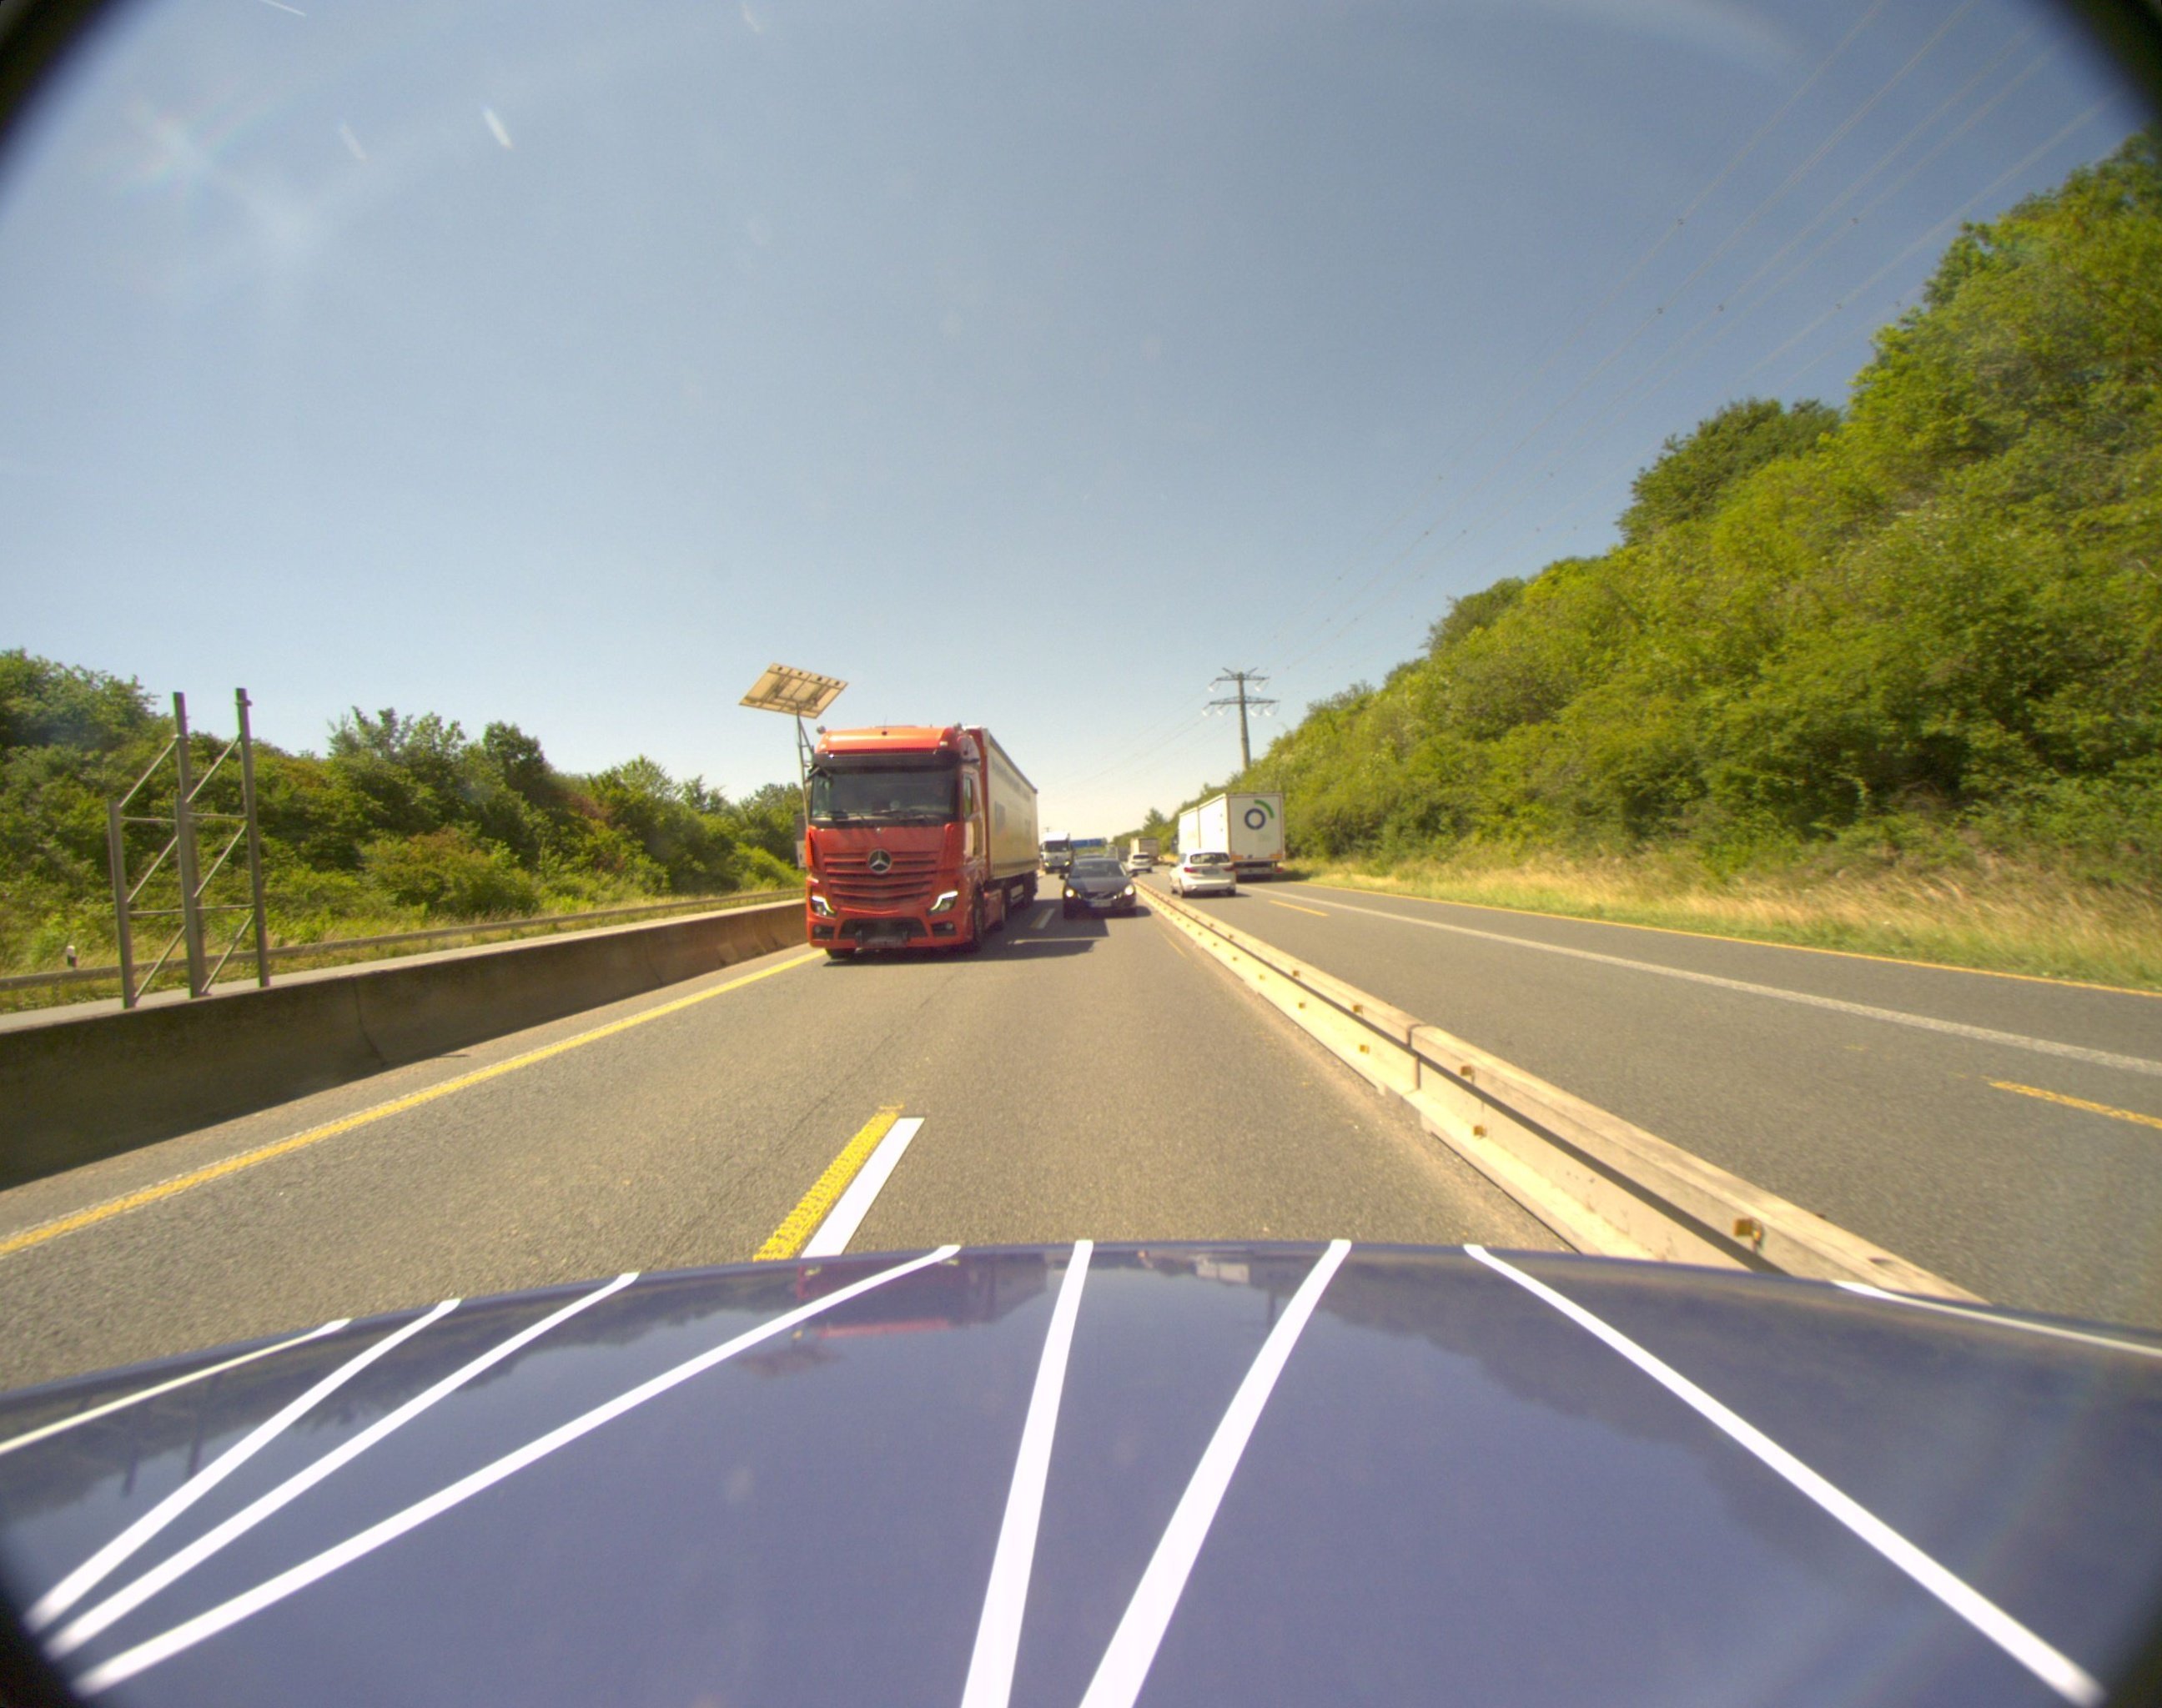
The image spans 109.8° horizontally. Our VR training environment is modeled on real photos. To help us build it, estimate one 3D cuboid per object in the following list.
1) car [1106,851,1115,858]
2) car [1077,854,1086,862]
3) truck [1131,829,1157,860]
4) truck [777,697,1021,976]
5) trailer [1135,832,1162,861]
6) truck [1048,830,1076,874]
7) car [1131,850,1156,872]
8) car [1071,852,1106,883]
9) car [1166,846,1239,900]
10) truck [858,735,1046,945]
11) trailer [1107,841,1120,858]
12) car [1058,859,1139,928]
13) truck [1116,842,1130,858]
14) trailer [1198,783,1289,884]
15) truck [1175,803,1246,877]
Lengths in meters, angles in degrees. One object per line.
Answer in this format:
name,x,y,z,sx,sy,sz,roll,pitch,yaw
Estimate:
car,6.585,0.016,171.253,1.846,1.481,4.510,-1,1,0
car,0.067,0.803,151.048,1.767,1.523,4.698,-3,1,-1
truck,8.768,-1.246,106.616,2.656,3.969,9.650,-4,0,1
truck,-2.947,-0.283,14.567,2.689,3.987,6.725,-3,1,2
trailer,8.595,-0.895,97.336,2.657,3.317,8.919,-4,0,1
truck,-1.827,-0.245,78.075,2.481,4.030,13.109,-3,0,0
car,4.985,0.530,61.218,1.829,1.621,4.151,-3,1,3
car,0.446,0.717,42.701,1.767,1.523,4.699,-3,1,1
car,4.098,0.575,26.327,1.767,1.622,4.296,-3,1,0
truck,-2.819,-0.340,21.478,2.689,3.987,13.217,-3,1,1
trailer,8.316,-1.102,197.326,2.899,4.101,13.244,-4,0,1
car,0.433,0.906,19.516,1.767,1.411,4.699,-3,1,1
truck,8.950,-0.896,161.836,2.412,3.312,7.496,-3,2,-1
trailer,7.763,-0.913,37.506,2.644,4.287,8.447,-3,0,1
truck,7.746,-0.782,46.931,2.416,3.969,10.351,-3,0,0
